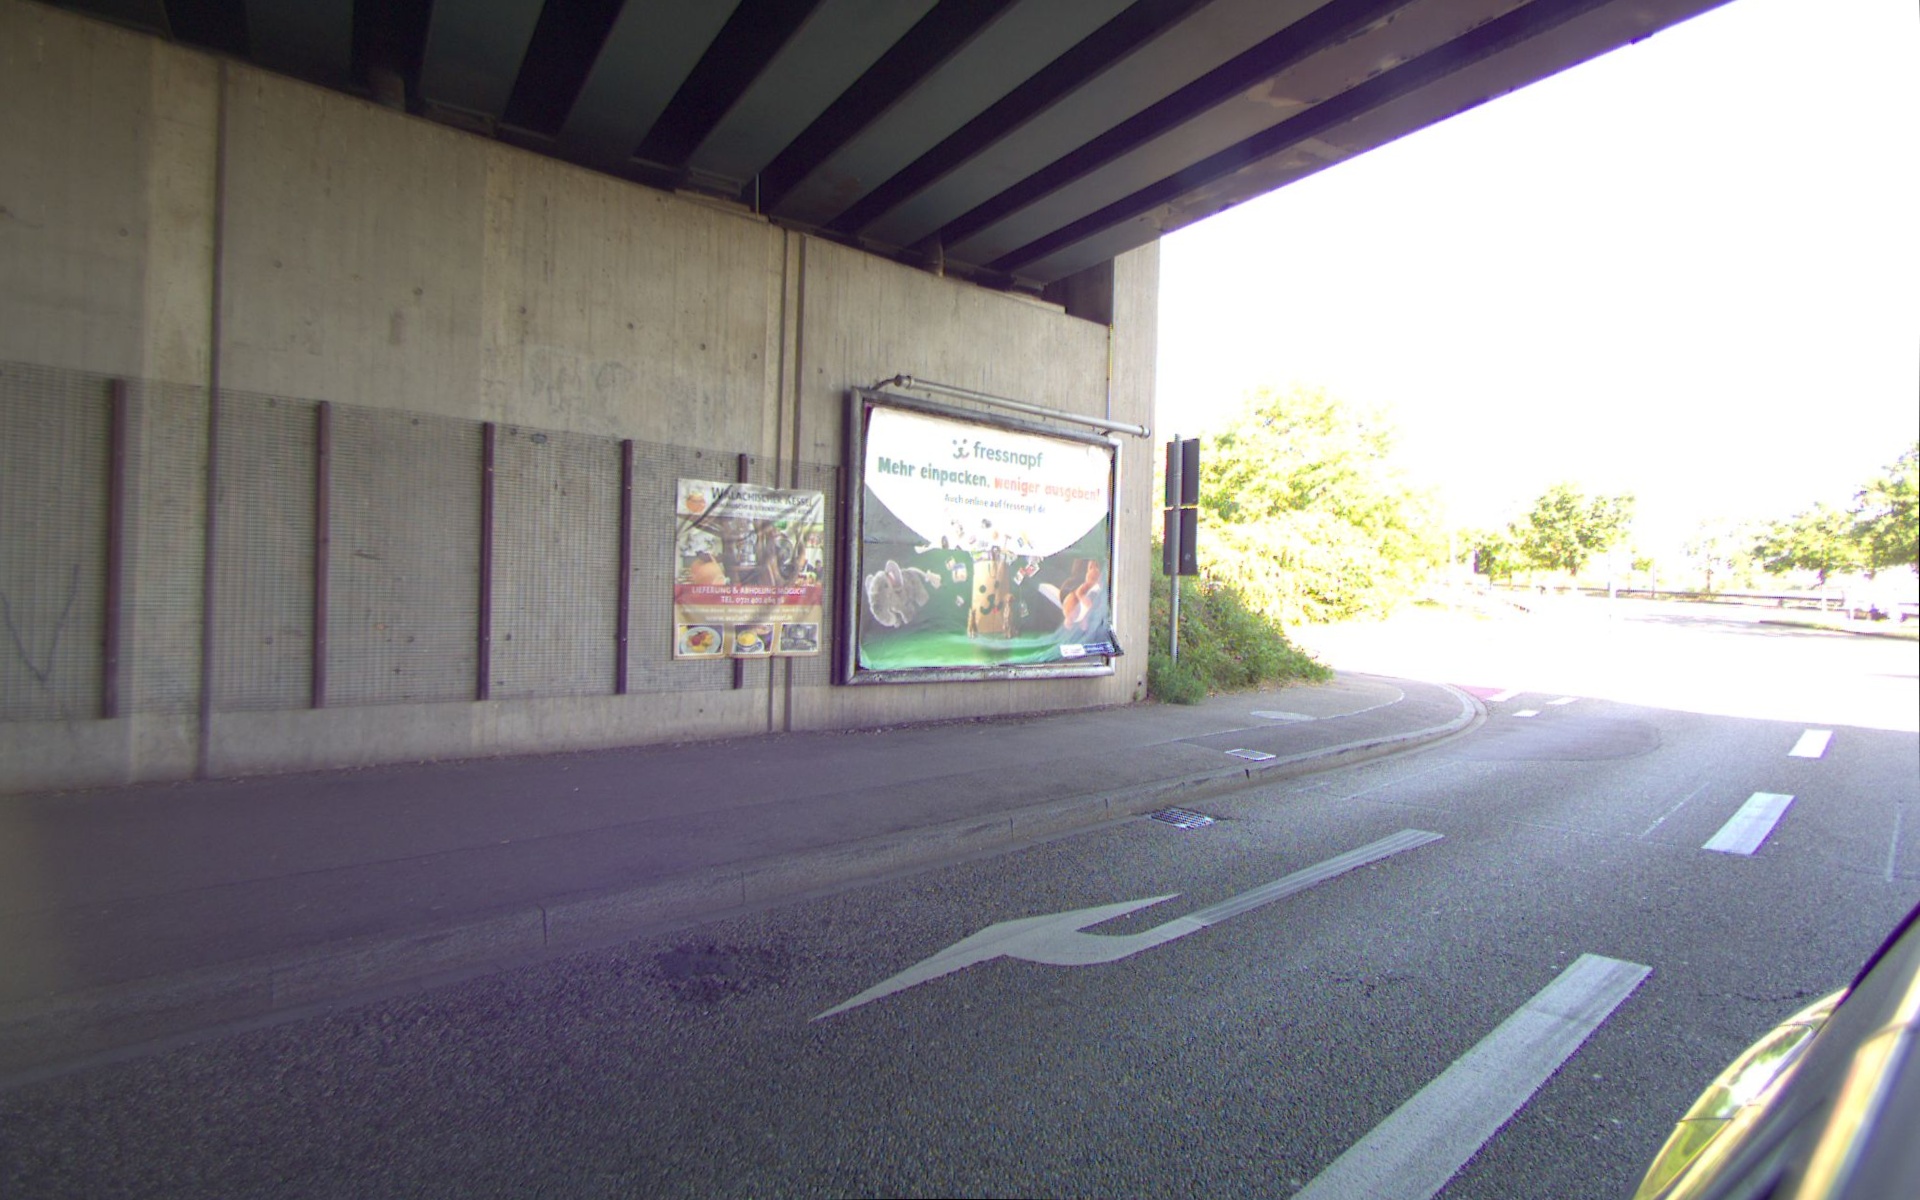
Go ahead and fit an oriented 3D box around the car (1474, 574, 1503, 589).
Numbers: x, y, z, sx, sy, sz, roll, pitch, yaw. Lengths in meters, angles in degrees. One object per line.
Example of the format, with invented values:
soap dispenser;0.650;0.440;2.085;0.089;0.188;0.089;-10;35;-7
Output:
car;56.398;-1.984;108.000;1.713;1.438;4.299;2;0;14

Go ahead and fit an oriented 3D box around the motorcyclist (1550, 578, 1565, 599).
motorcyclist;64.595;-1.269;109.412;1.090;2.269;1.180;0;0;9

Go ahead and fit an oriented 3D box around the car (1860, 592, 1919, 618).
car;54.116;0.276;58.659;1.730;1.297;4.147;4;3;25

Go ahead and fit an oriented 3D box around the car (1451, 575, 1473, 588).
car;61.973;-2.268;125.060;1.715;1.438;4.294;2;0;17
